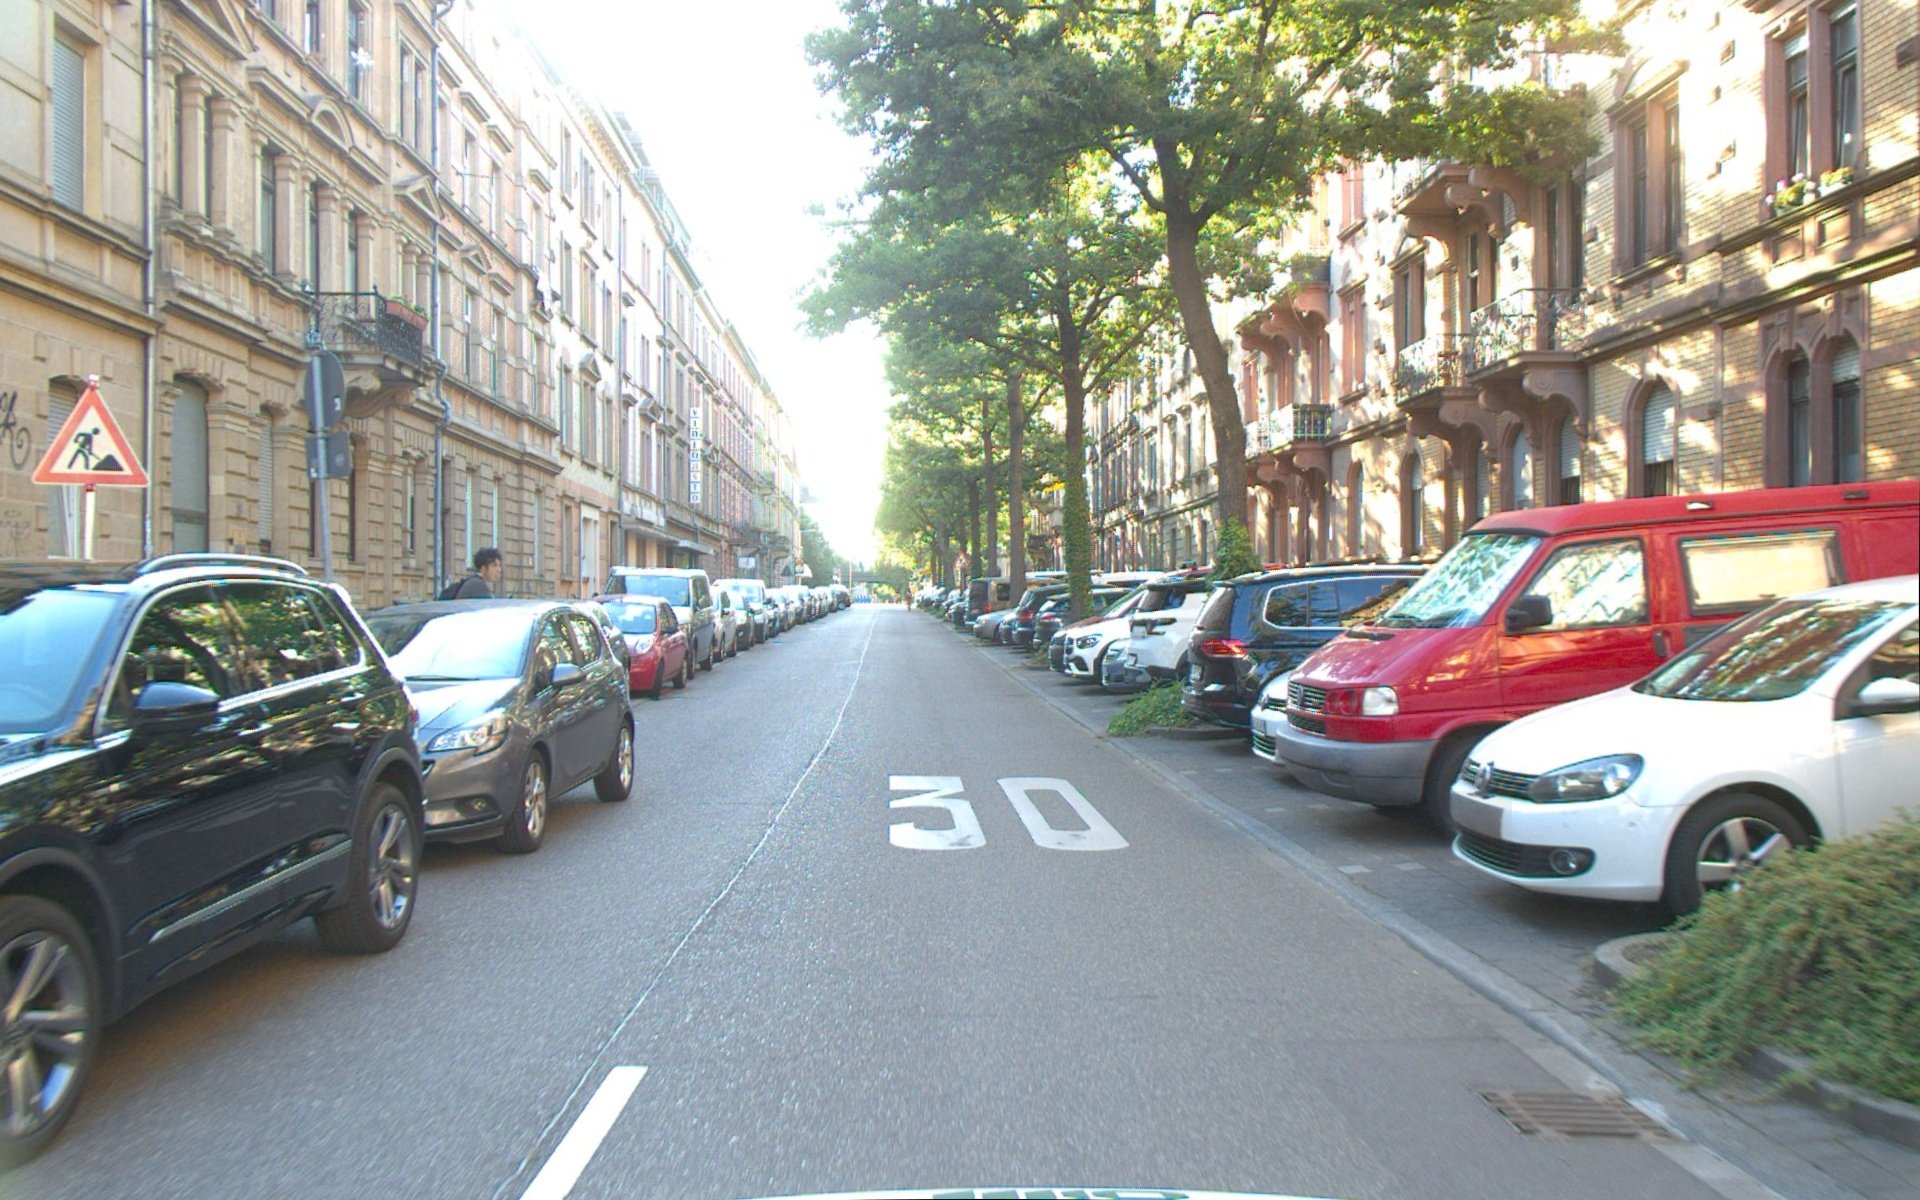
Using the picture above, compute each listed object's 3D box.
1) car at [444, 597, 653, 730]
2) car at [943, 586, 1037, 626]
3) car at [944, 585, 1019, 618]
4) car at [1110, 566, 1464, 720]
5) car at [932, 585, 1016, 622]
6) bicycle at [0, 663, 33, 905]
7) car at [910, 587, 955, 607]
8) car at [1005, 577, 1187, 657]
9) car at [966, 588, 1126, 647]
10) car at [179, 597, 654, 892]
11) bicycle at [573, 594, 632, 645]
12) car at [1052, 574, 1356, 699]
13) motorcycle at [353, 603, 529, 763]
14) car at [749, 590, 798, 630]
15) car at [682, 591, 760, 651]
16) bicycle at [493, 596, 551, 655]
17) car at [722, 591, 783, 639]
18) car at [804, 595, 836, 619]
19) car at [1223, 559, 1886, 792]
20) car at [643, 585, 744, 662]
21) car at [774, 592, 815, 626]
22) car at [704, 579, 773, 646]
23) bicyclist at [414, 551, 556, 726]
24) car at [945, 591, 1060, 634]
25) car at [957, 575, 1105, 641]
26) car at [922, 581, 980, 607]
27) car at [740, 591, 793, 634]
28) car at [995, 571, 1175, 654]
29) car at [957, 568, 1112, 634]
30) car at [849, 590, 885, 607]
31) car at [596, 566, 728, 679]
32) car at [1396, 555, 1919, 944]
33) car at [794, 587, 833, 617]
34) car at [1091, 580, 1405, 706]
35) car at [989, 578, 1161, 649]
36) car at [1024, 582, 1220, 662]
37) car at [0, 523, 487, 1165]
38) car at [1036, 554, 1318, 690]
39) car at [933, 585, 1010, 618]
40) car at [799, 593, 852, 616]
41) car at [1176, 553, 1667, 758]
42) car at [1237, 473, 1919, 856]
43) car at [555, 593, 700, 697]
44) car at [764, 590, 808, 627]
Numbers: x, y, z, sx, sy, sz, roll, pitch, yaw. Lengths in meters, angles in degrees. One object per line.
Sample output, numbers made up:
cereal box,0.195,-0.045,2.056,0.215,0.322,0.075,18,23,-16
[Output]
car,-5.280,0.754,21.757,1.722,1.527,4.059,-1,0,0
car,1.270,0.244,70.257,3.776,1.505,1.716,-3,0,-6
car,1.150,0.092,89.965,3.781,1.601,1.713,-3,0,-11
car,3.976,0.510,20.516,3.932,1.656,1.803,-2,0,-4
car,0.648,0.148,80.190,3.781,1.601,1.713,-3,0,-11
bicycle,-5.495,0.869,7.855,1.830,1.148,0.528,1,-1,-3
car,-2.390,-0.254,142.523,3.774,1.601,1.717,-2,0,-4
car,3.077,0.376,37.948,3.931,1.635,1.733,-2,0,-3
car,2.343,0.460,45.725,4.141,1.428,1.832,-3,0,-8
car,-3.287,0.769,10.892,1.722,1.527,4.060,-1,0,1
bicycle,-10.077,0.522,46.821,1.021,1.341,3.997,0,0,-3
car,3.662,0.520,25.328,4.258,1.583,1.849,-3,1,-4
motorcycle,-4.899,0.732,15.843,1.045,1.394,2.604,0,0,-5
car,-7.333,0.357,65.173,1.724,1.498,4.056,-1,0,-4
car,-6.345,0.521,44.250,1.724,1.493,3.997,1,0,-4
bicycle,-9.981,0.554,37.796,0.726,1.277,2.825,0,0,-3
car,-6.769,0.461,54.223,1.724,1.498,4.056,-1,0,-4
car,-9.208,0.478,108.781,1.954,1.512,3.997,-1,-2,-4
car,4.576,0.560,13.233,4.580,1.541,1.878,-2,0,-1
car,-6.023,0.497,37.801,1.718,1.636,4.382,1,0,-2
car,-7.592,0.396,76.190,1.724,1.498,4.056,-1,0,-4
car,-6.528,0.342,49.179,1.724,1.874,4.526,-1,0,-4
bicyclist,-5.194,0.391,18.083,1.195,1.821,0.986,-2,1,-37
car,1.466,0.428,57.925,3.776,1.316,1.716,-3,0,-6
car,2.204,0.224,51.361,4.163,1.826,1.822,-3,0,-23
car,-0.605,-0.429,112.282,3.774,1.601,1.717,-2,0,-4
car,-7.018,0.422,60.317,1.724,1.498,4.056,-1,0,-4
car,3.039,0.297,40.677,4.138,1.807,1.834,-2,0,-4
car,2.438,0.014,55.112,4.956,1.959,1.834,-2,0,-3
car,-10.534,-0.216,187.993,3.902,1.891,1.752,1,0,5
car,-5.658,0.385,31.982,1.795,1.977,5.257,1,0,-3
car,4.349,0.570,7.868,3.973,1.536,1.878,-2,0,-3
car,-7.827,0.130,88.702,1.954,1.512,3.997,-1,-2,-4
car,3.923,0.571,22.967,3.931,1.459,1.793,-3,0,-3
car,2.995,0.346,43.381,4.145,1.639,1.831,-3,0,-10
car,3.423,0.465,35.458,3.931,1.493,1.733,-2,0,-3
car,-3.257,0.626,5.830,1.722,1.628,4.551,-1,0,2
car,3.598,0.326,27.891,4.358,1.957,1.848,-3,1,-5
car,0.590,0.076,87.529,3.781,1.601,1.713,-3,0,-11
car,-9.657,0.334,119.097,1.956,1.512,3.993,-2,-2,29
car,4.233,0.499,15.673,4.101,1.656,1.837,-2,0,0
car,4.303,0.340,10.642,4.585,2.069,1.876,-2,0,-6
car,-5.210,0.663,26.306,1.560,1.501,3.699,1,0,-1
car,-7.468,0.351,71.424,1.724,1.498,4.056,-1,0,-4
